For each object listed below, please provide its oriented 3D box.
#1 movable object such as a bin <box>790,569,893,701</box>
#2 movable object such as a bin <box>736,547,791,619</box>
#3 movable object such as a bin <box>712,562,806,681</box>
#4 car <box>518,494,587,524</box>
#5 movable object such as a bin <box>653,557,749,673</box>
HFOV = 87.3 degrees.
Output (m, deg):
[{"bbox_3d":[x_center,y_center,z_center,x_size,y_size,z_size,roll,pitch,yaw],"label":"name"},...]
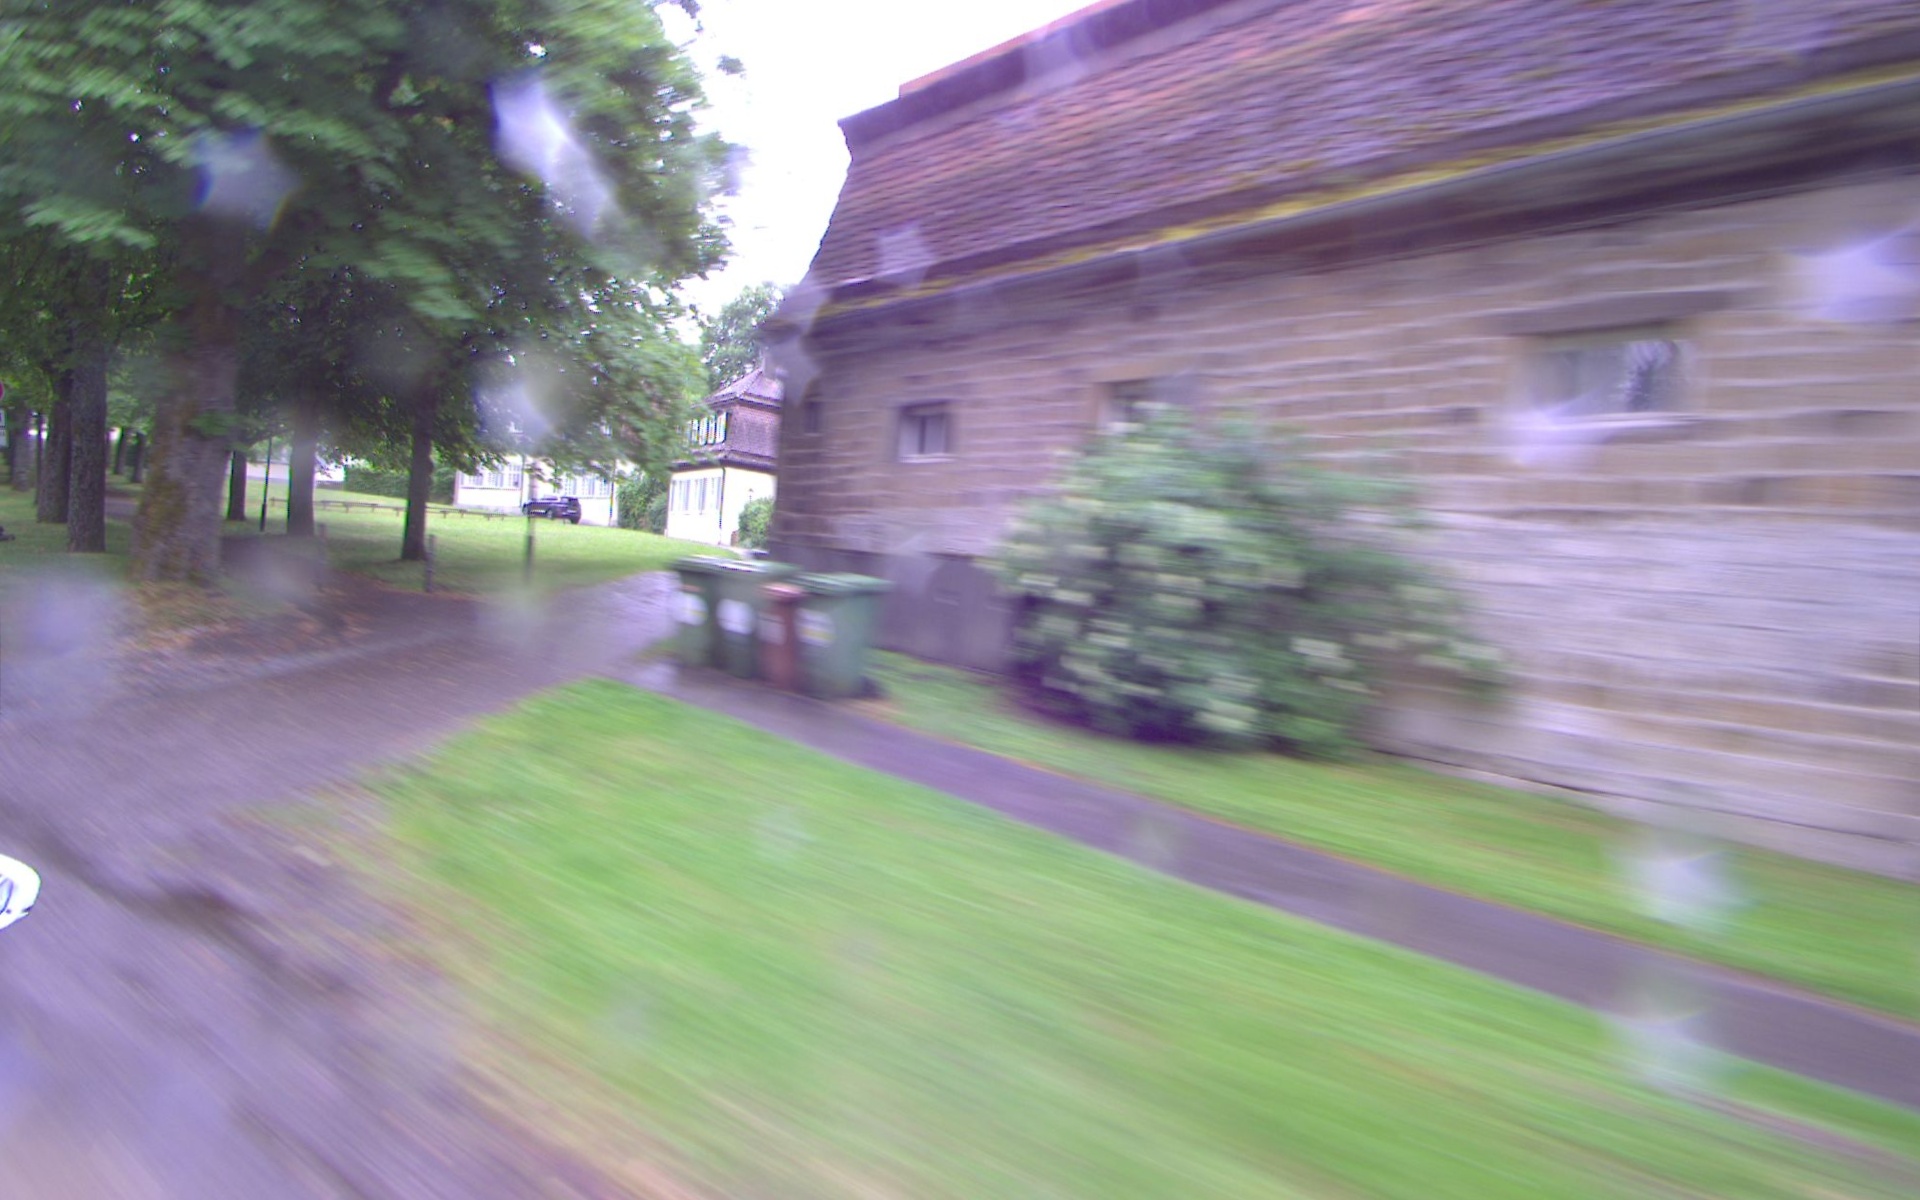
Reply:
[{"bbox_3d":[-1.037,0.279,8.813,0.691,1.055,0.568,-5,9,-44],"label":"movable object such as a bin"},{"bbox_3d":[-2.688,-0.245,13.764,0.547,0.921,0.527,-5,9,-44],"label":"movable object such as a bin"},{"bbox_3d":[-1.935,0.183,9.680,0.691,1.055,0.568,-5,9,-44],"label":"movable object such as a bin"},{"bbox_3d":[-24.987,-5.551,61.564,4.440,1.530,1.988,8,6,38],"label":"car"},{"bbox_3d":[-2.571,0.129,10.013,0.691,1.055,0.652,-5,9,-44],"label":"movable object such as a bin"}]
